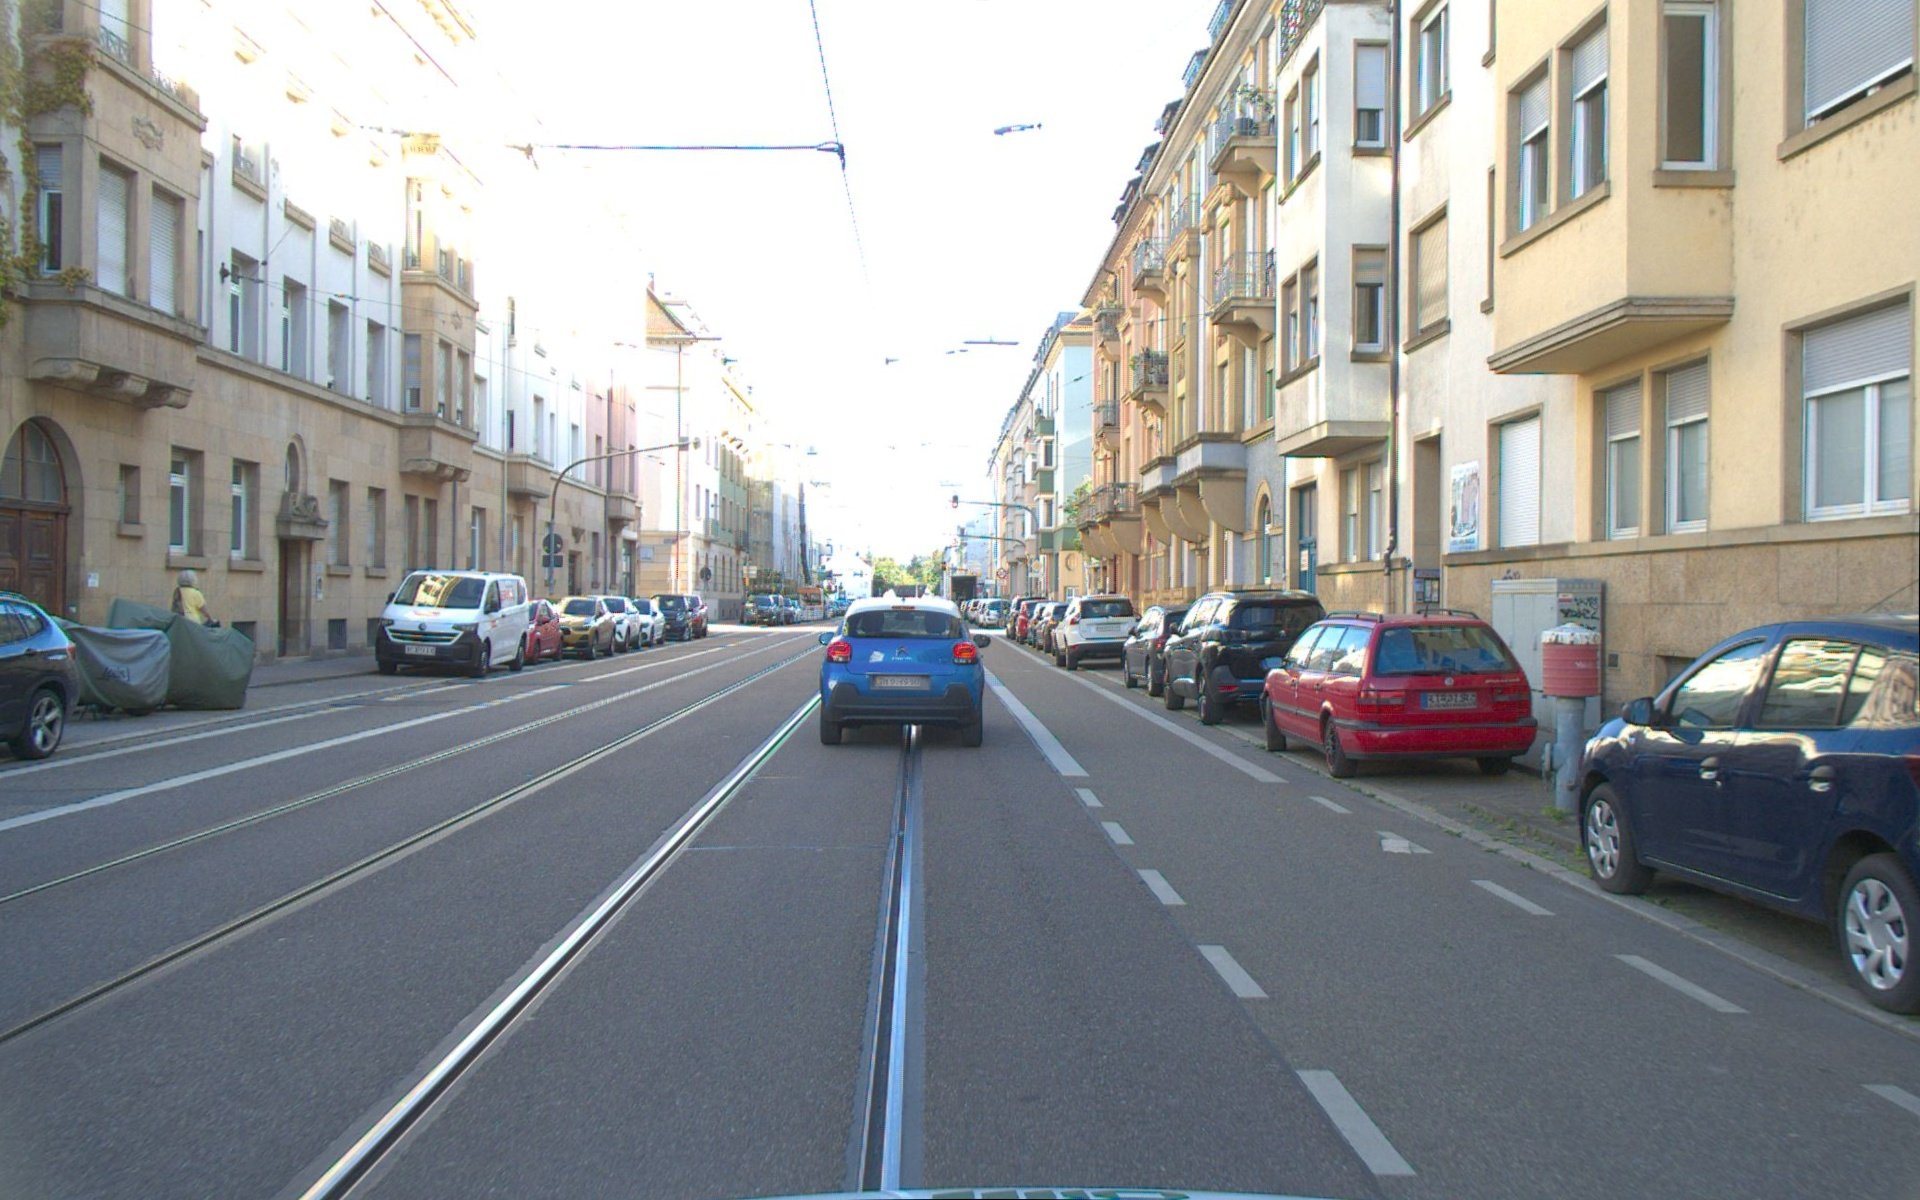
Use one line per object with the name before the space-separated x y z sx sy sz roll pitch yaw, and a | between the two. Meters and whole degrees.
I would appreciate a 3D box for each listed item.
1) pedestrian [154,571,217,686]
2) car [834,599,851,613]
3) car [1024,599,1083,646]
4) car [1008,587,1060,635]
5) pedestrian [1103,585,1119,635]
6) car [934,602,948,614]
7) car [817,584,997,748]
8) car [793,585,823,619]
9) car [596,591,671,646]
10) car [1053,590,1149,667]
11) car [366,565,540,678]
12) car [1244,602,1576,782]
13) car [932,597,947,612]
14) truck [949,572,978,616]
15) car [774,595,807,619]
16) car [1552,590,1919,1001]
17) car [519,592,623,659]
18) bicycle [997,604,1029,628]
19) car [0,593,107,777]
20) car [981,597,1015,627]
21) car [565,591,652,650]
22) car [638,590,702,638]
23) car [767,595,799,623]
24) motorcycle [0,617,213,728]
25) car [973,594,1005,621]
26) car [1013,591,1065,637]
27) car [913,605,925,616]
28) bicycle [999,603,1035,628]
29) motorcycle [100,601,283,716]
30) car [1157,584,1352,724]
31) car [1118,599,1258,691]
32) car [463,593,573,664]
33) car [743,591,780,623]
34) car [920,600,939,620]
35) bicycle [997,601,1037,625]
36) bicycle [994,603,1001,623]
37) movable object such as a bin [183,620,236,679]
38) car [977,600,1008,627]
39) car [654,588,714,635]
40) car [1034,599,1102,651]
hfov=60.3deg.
pedestrian | -12.112 0.439 25.871 0.666 1.754 0.616 1 0 -1
car | -13.879 0.713 195.068 1.789 1.660 3.904 0 0 -2
car | 3.120 0.725 55.878 1.621 1.539 4.473 0 0 -1
car | 2.957 0.422 66.900 1.718 1.766 4.505 -3 0 -1
pedestrian | 5.209 0.329 57.047 0.502 1.716 0.447 0 0 -2
car | -2.299 0.958 197.975 1.729 1.513 4.030 0 0 -1
car | -0.548 0.645 18.118 1.700 1.533 3.991 2 0 -1
car | -11.816 0.143 128.567 2.102 2.519 4.977 1 0 -3
car | -10.430 0.568 53.094 1.748 1.650 4.176 2 0 -3
car | 3.273 0.636 39.127 1.805 1.720 4.503 0 0 -1
car | -9.829 0.387 32.532 1.933 1.983 5.249 2 0 -2
car | 4.143 0.768 16.077 1.821 1.481 4.708 0 0 -2
car | -3.202 0.716 257.002 2.175 2.324 4.083 0 0 -1
truck | 0.292 -0.564 164.891 2.795 4.154 11.269 0 0 0
car | -11.414 0.477 111.512 1.683 1.529 4.387 2 0 0
car | 4.369 0.717 7.744 1.683 1.517 4.001 -1 0 -1
car | -9.873 0.615 42.274 1.747 1.550 4.358 2 0 -2
bicycle | 2.917 0.874 90.879 1.688 1.174 0.469 -3 0 -1
car | -9.299 0.729 13.914 1.746 1.593 4.610 2 0 1
car | 2.145 0.651 94.015 1.747 1.660 3.999 0 0 -1
car | -10.120 0.560 47.885 1.737 1.574 4.363 2 0 -3
car | -10.295 0.487 58.805 1.747 1.580 3.018 2 0 -1
car | -11.274 0.569 105.359 1.748 1.655 4.606 2 0 -3
motorcycle | -9.838 0.801 19.146 0.725 1.191 2.176 1 0 28
car | 1.907 0.487 110.711 1.623 1.782 4.597 0 0 -6
car | 2.845 0.498 60.460 1.717 1.622 3.729 0 0 0
car | -6.153 1.572 251.116 1.789 1.660 4.489 0 0 -1
bicycle | 3.014 0.822 86.881 1.805 1.174 0.469 -3 0 -1
motorcycle | -9.730 0.717 21.008 0.867 1.375 1.953 1 0 31
car | 3.858 0.658 22.405 1.821 1.695 4.561 0 0 0
car | 3.831 0.719 28.434 1.702 1.467 4.031 0 0 -2
car | -10.097 0.616 38.013 1.570 1.498 3.645 2 0 -1
car | -11.207 0.392 93.723 1.748 1.720 4.665 2 0 -3
car | -2.972 0.978 162.152 1.784 1.927 3.999 1 0 -1
bicycle | 2.963 0.683 86.164 2.044 1.174 0.848 -2 0 -1
bicycle | 1.997 0.685 89.120 0.345 1.063 1.728 0 0 0
movable object such as a bin | -12.096 0.795 26.666 0.600 0.916 0.518 1 0 -1
car | 1.944 0.803 99.574 1.747 1.603 4.325 0 0 -1
car | -10.482 0.421 63.041 1.748 1.634 4.394 2 0 -3
car | 3.271 0.729 50.669 1.621 1.509 4.472 0 0 -2
